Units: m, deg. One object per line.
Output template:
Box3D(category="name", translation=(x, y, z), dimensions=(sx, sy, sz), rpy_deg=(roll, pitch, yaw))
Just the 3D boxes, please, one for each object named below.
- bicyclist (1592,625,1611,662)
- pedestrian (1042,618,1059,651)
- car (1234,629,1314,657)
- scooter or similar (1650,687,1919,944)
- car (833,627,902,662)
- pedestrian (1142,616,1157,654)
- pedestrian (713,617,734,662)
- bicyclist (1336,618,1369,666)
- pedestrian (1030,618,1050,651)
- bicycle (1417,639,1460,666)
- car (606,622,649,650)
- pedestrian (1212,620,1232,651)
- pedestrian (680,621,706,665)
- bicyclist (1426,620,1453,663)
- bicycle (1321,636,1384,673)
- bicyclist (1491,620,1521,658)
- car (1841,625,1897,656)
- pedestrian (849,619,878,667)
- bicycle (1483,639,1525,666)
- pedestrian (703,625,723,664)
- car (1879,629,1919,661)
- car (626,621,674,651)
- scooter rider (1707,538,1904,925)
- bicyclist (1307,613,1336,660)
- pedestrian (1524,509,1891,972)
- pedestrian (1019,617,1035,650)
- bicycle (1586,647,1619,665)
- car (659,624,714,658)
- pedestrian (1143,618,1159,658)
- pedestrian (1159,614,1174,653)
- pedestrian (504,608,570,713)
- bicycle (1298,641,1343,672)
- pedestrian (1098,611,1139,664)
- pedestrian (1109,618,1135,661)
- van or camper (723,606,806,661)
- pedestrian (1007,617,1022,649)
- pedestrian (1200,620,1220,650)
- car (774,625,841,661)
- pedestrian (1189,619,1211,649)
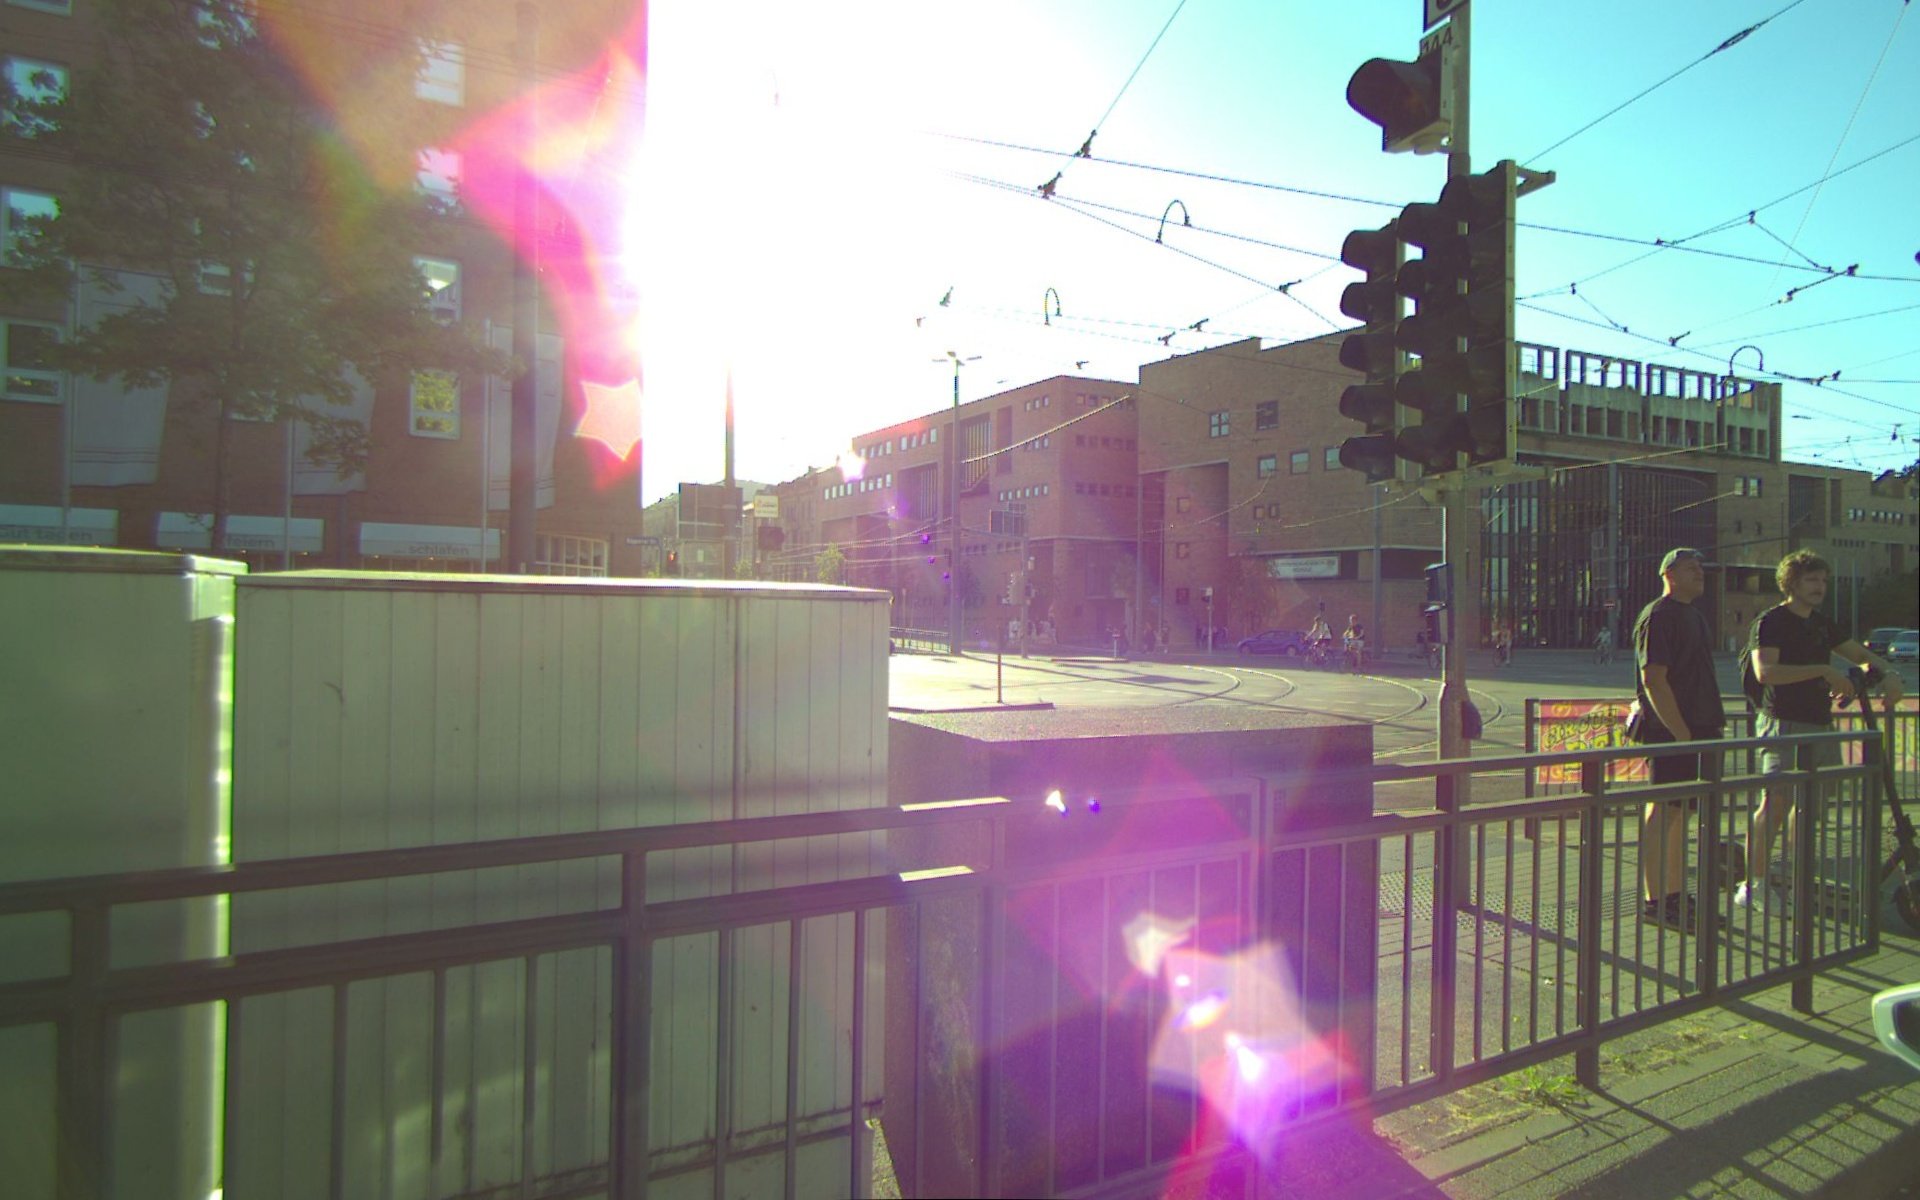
Box3D(category="bicyclist", translation=(29.135, 1.965, 45.617), dimensions=(0.509, 1.647, 0.583), rpy_deg=(1, -1, -34))
Box3D(category="pedestrian", translation=(5.521, 2.115, 61.368), dimensions=(0.742, 2.010, 0.780), rpy_deg=(1, -1, -32))
Box3D(category="car", translation=(16.363, 2.207, 52.418), dimensions=(3.658, 1.394, 1.579), rpy_deg=(-1, -2, 38))
Box3D(category="scooter or similar", translation=(4.440, 1.045, 5.272), dimensions=(0.639, 1.095, 1.199), rpy_deg=(1, -1, -25))
Box3D(category="car", translation=(-4.810, 2.246, 51.809), dimensions=(1.978, 1.709, 3.965), rpy_deg=(1, -2, -33))
Box3D(category="pedestrian", translation=(10.165, 1.885, 53.920), dimensions=(0.603, 2.040, 0.731), rpy_deg=(0, -1, 30))
Box3D(category="pedestrian", translation=(-10.718, 1.789, 45.544), dimensions=(0.597, 2.040, 0.848), rpy_deg=(1, -1, -38))
Box3D(category="bicyclist", translation=(13.151, 1.389, 33.692), dimensions=(0.748, 1.581, 0.680), rpy_deg=(-1, 0, -24))
Box3D(category="pedestrian", translation=(4.830, 2.092, 60.884), dimensions=(0.917, 2.010, 0.780), rpy_deg=(1, -1, -32))
Box3D(category="bicycle", translation=(18.122, 1.974, 38.032), dimensions=(1.884, 1.011, 0.688), rpy_deg=(1, -2, -37))
Box3D(category="car", translation=(-21.623, 2.331, 65.232), dimensions=(1.738, 1.750, 3.965), rpy_deg=(1, -2, -32))
Box3D(category="pedestrian", translation=(17.713, 2.400, 67.964), dimensions=(0.841, 2.079, 1.001), rpy_deg=(1, -1, -32))
Box3D(category="pedestrian", translation=(-10.805, 1.738, 40.642), dimensions=(0.857, 1.775, 0.672), rpy_deg=(1, -1, -30))
Box3D(category="bicyclist", translation=(18.174, 1.572, 38.099), dimensions=(0.752, 1.590, 0.656), rpy_deg=(1, -2, -37))
Box3D(category="bicycle", translation=(13.180, 1.812, 33.704), dimensions=(2.081, 1.157, 0.683), rpy_deg=(-1, 0, -24))
Box3D(category="bicyclist", translation=(22.226, 1.594, 40.877), dimensions=(1.022, 1.494, 0.649), rpy_deg=(2, -1, -35))
Box3D(category="car", translation=(56.072, 2.503, 61.948), dimensions=(3.964, 1.786, 1.854), rpy_deg=(1, 0, -37))
Box3D(category="pedestrian", translation=(-3.651, 1.612, 37.838), dimensions=(0.860, 1.775, 0.670), rpy_deg=(1, -2, -39))
Box3D(category="bicycle", translation=(22.105, 2.127, 40.800), dimensions=(1.993, 1.064, 0.647), rpy_deg=(2, -1, -35))
Box3D(category="pedestrian", translation=(-11.731, 2.091, 47.735), dimensions=(0.597, 1.843, 0.848), rpy_deg=(1, -1, -38))
Box3D(category="car", translation=(48.934, 2.288, 51.733), dimensions=(3.962, 1.598, 1.610), rpy_deg=(1, -2, -36))
Box3D(category="car", translation=(-18.473, 2.131, 59.792), dimensions=(1.738, 1.750, 3.965), rpy_deg=(1, -2, -32))
Box3D(category="scooter rider", translation=(4.446, 0.658, 5.290), dimensions=(0.670, 1.877, 0.564), rpy_deg=(3, -2, -25))
Box3D(category="bicyclist", translation=(12.434, 1.237, 34.535), dimensions=(0.753, 1.595, 0.654), rpy_deg=(1, -2, -42))
Box3D(category="pedestrian", translation=(3.557, 0.598, 4.870), dimensions=(0.843, 1.908, 1.164), rpy_deg=(1, -1, -25))
Box3D(category="pedestrian", translation=(4.196, 2.104, 63.123), dimensions=(0.644, 2.040, 0.780), rpy_deg=(1, -1, -32))
Box3D(category="bicycle", translation=(29.212, 2.519, 45.667), dimensions=(1.948, 0.781, 0.586), rpy_deg=(1, -2, -35))
Box3D(category="car", translation=(-14.887, 2.197, 54.606), dimensions=(1.739, 1.750, 3.963), rpy_deg=(1, -2, -33))
Box3D(category="pedestrian", translation=(9.842, 1.925, 51.634), dimensions=(0.603, 2.040, 0.731), rpy_deg=(0, -1, 30))
Box3D(category="pedestrian", translation=(11.054, 1.782, 53.765), dimensions=(0.603, 2.040, 0.731), rpy_deg=(0, -1, 30))
Box3D(category="pedestrian", translation=(-7.720, 1.075, 18.312), dimensions=(0.946, 1.822, 0.985), rpy_deg=(2, 0, -31))
Box3D(category="bicycle", translation=(12.380, 1.938, 34.473), dimensions=(1.888, 1.011, 0.647), rpy_deg=(2, -2, -43))
Box3D(category="pedestrian", translation=(6.264, 1.467, 39.773), dimensions=(1.193, 2.040, 1.028), rpy_deg=(2, 0, -30))
Box3D(category="pedestrian", translation=(7.352, 1.780, 45.498), dimensions=(0.866, 1.927, 0.718), rpy_deg=(2, 0, -33))
Box3D(category="van or camper", translation=(-9.370, 1.575, 47.937), dimensions=(1.981, 2.451, 4.980), rpy_deg=(1, -2, -36))
Box3D(category="pedestrian", translation=(3.411, 2.076, 63.093), dimensions=(0.607, 2.040, 0.727), rpy_deg=(1, -1, -32))
Box3D(category="pedestrian", translation=(17.224, 2.418, 69.196), dimensions=(0.841, 2.079, 1.001), rpy_deg=(1, -1, -32))
Box3D(category="car", translation=(-7.800, 2.152, 51.184), dimensions=(1.978, 1.709, 3.965), rpy_deg=(1, -2, -33))
Box3D(category="pedestrian", translation=(16.348, 2.289, 68.338), dimensions=(0.902, 2.040, 1.151), rpy_deg=(1, -1, -34))
